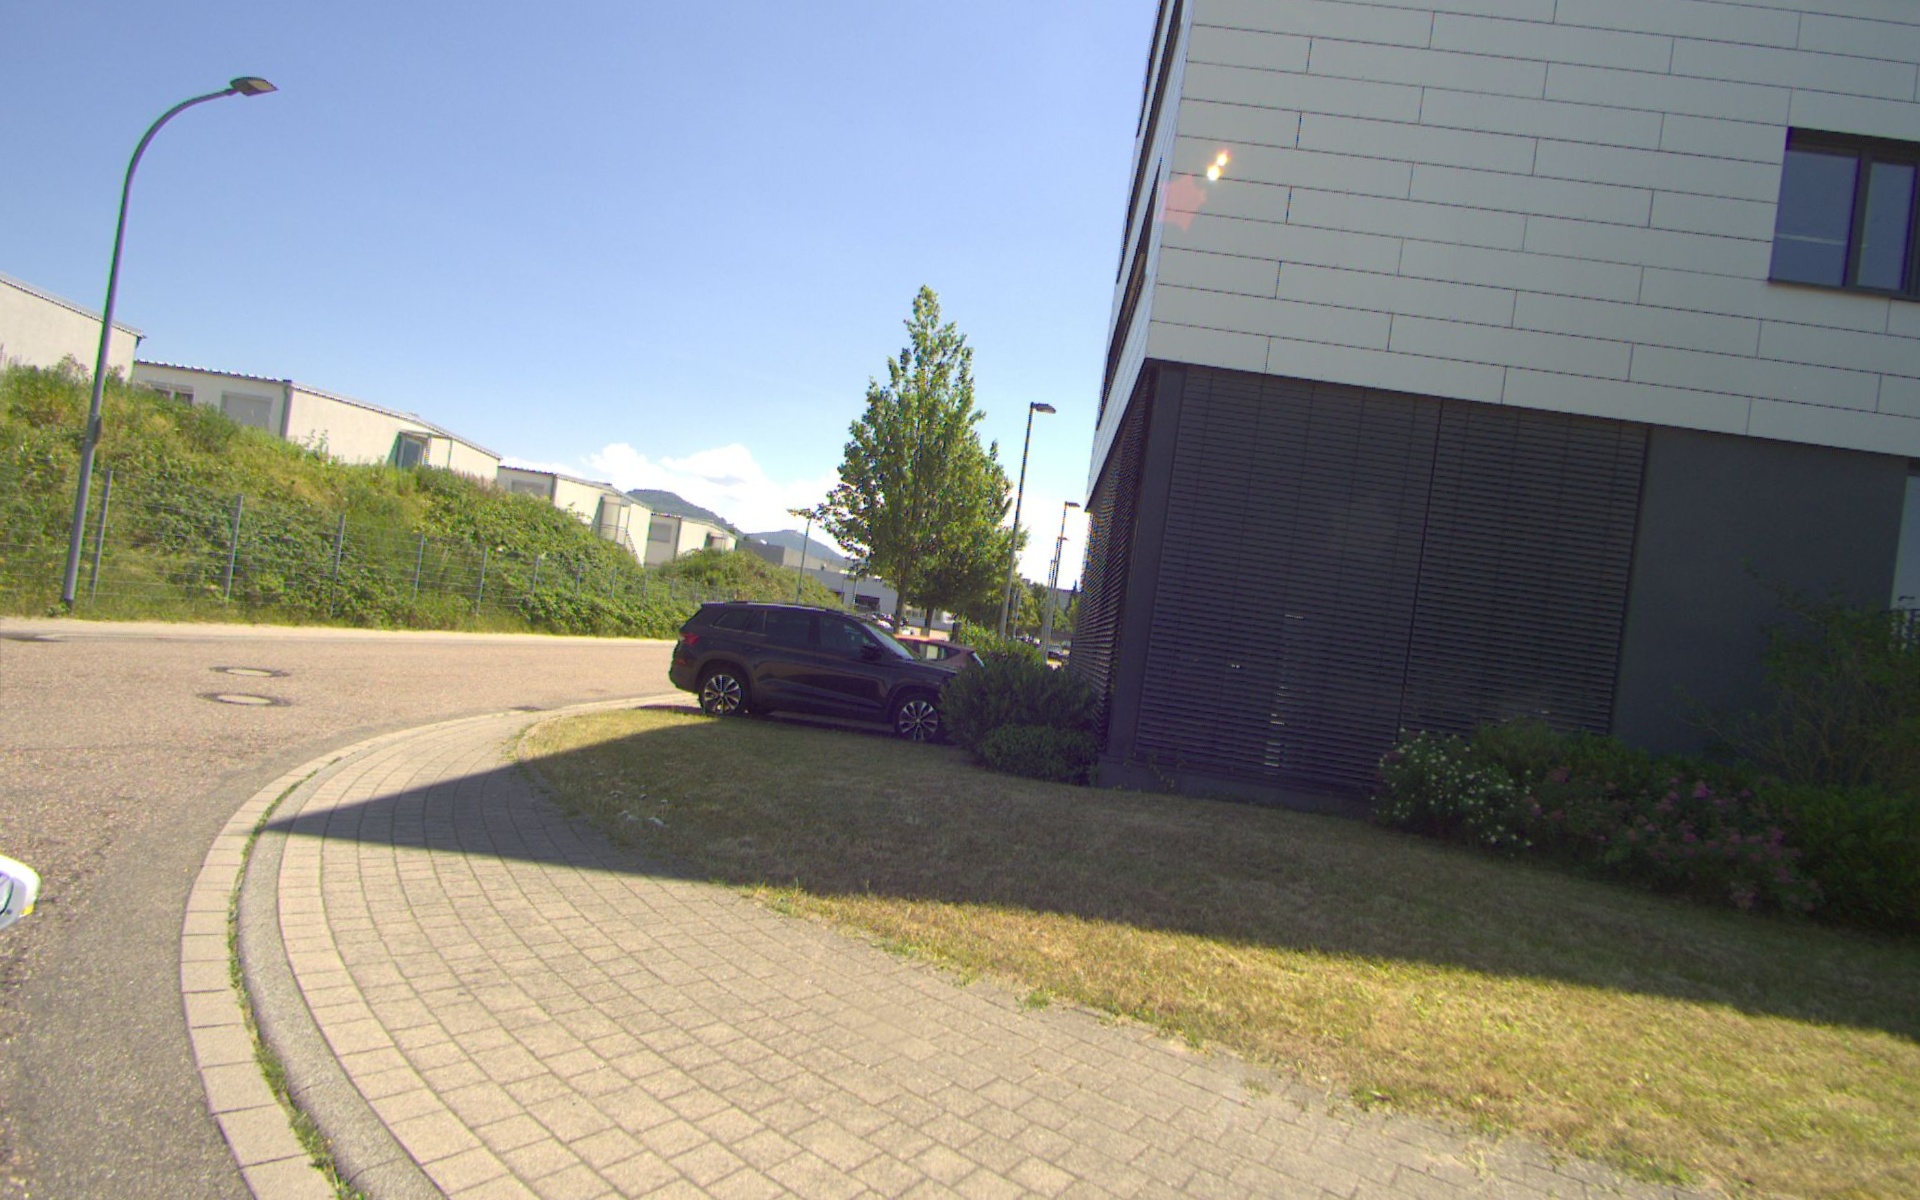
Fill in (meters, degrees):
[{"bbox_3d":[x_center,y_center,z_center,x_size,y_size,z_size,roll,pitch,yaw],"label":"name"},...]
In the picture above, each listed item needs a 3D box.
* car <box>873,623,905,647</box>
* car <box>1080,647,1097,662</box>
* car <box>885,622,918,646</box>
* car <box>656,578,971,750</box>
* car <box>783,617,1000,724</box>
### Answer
[{"bbox_3d":[-5.131,2.540,73.004,1.630,1.433,4.149,8,-2,4],"label":"car"},{"bbox_3d":[18.581,7.918,145.593,1.962,1.846,4.007,8,-3,5],"label":"car"},{"bbox_3d":[-4.522,2.700,78.282,1.805,1.564,4.269,8,-2,6],"label":"car"},{"bbox_3d":[-1.995,0.882,14.313,3.924,1.786,1.727,7,-2,8],"label":"car"},{"bbox_3d":[-1.268,1.362,19.807,3.925,1.512,1.726,7,-2,3],"label":"car"}]
